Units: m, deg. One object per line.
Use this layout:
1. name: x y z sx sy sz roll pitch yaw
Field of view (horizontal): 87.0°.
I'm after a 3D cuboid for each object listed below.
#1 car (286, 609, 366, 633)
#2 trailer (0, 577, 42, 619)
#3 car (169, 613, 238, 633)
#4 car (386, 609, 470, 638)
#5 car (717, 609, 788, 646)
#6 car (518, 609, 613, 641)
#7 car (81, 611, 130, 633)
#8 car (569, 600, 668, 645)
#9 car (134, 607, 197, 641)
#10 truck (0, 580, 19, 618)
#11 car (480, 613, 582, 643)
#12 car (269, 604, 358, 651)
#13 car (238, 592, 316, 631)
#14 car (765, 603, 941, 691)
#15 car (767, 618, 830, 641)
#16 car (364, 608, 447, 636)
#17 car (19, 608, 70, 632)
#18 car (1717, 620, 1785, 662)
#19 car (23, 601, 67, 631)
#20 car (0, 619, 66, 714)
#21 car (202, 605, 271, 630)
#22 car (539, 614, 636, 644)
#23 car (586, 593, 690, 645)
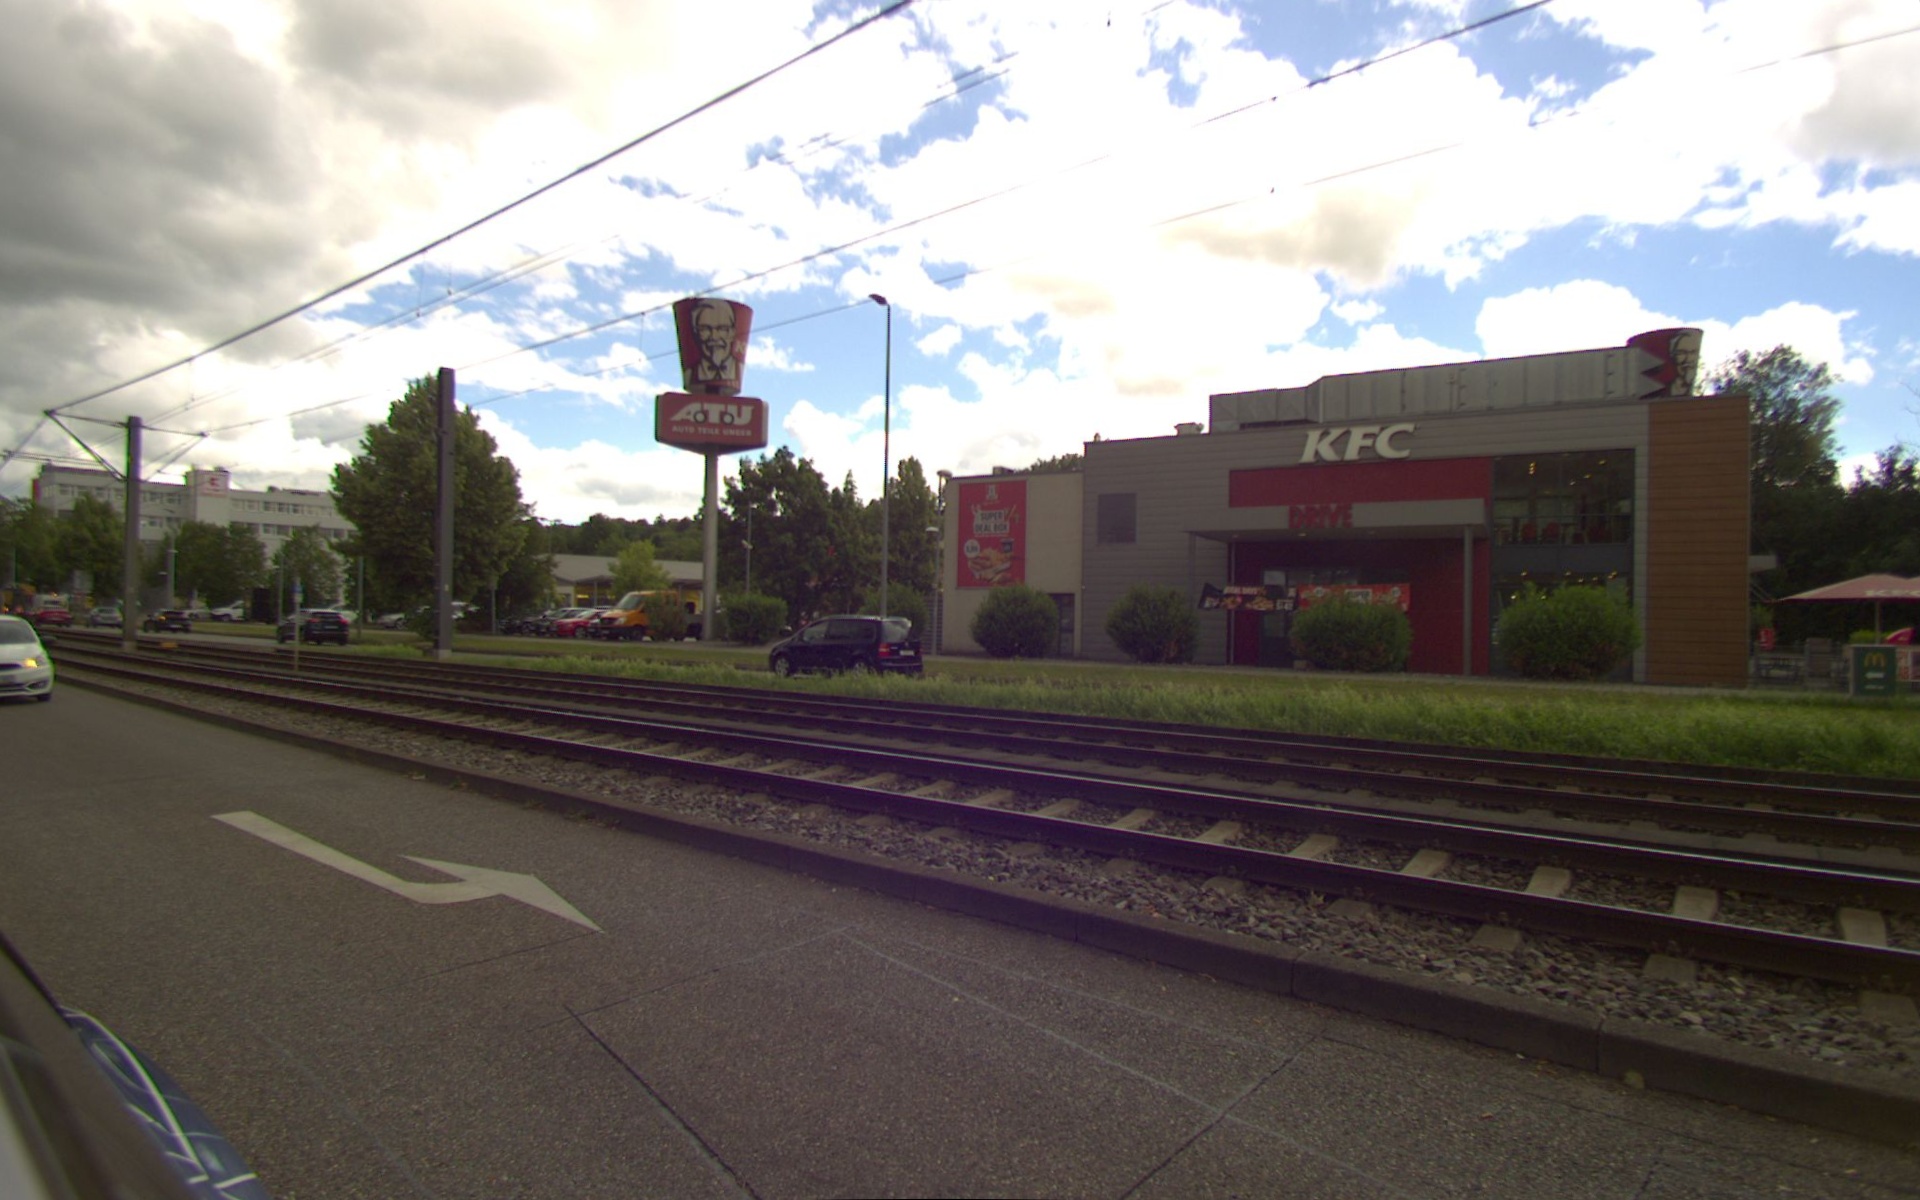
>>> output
1. car: -44.692 1.483 71.433 1.792 1.518 4.429 0 1 37
2. trailer: -96.718 -0.148 103.121 14.414 3.926 2.644 0 -3 40
3. car: -66.576 2.009 89.079 2.000 1.504 4.551 0 1 43
4. car: -31.474 1.377 59.947 1.935 1.518 3.948 0 1 39
5. car: -12.077 1.568 59.101 1.949 2.029 3.693 0 1 37
6. car: -19.840 1.226 50.964 2.092 1.377 3.948 0 1 39
7. car: -62.250 1.602 73.730 3.996 1.494 1.974 0 -3 39
8. car: -16.015 1.013 47.576 1.998 1.932 3.948 0 1 39
9. car: -49.013 1.480 62.392 3.992 2.029 1.976 0 -3 36
10. truck: -105.564 -0.121 110.520 8.622 3.997 2.863 -1 -2 39
11. car: -22.170 1.416 52.379 2.193 1.364 4.330 0 1 39
12. car: -29.568 1.242 46.248 4.239 2.029 1.976 0 -2 36
13. car: -51.925 0.909 76.999 2.287 2.769 4.425 0 -2 39
14. car: -2.693 1.114 25.218 4.099 2.029 1.976 0 -2 36
15. car: -10.329 1.924 64.977 1.949 1.400 3.693 0 -2 37
16. car: -33.694 1.297 61.559 2.000 1.518 3.948 0 1 39
17. car: -63.898 1.408 70.614 4.474 1.594 1.766 0 -3 37
18. car: 39.737 2.014 50.933 1.991 2.029 3.961 -1 -2 28
19. car: -80.301 1.377 88.810 5.993 2.518 1.850 0 -3 39
20. car: -16.996 1.107 17.373 3.994 1.455 1.765 0 1 38
21. car: -59.288 1.401 82.968 2.000 1.933 4.298 0 1 43
22. car: -18.009 1.352 49.025 1.998 1.245 3.948 0 1 39
23. car: -14.367 0.804 45.303 2.057 2.182 3.948 0 1 39
